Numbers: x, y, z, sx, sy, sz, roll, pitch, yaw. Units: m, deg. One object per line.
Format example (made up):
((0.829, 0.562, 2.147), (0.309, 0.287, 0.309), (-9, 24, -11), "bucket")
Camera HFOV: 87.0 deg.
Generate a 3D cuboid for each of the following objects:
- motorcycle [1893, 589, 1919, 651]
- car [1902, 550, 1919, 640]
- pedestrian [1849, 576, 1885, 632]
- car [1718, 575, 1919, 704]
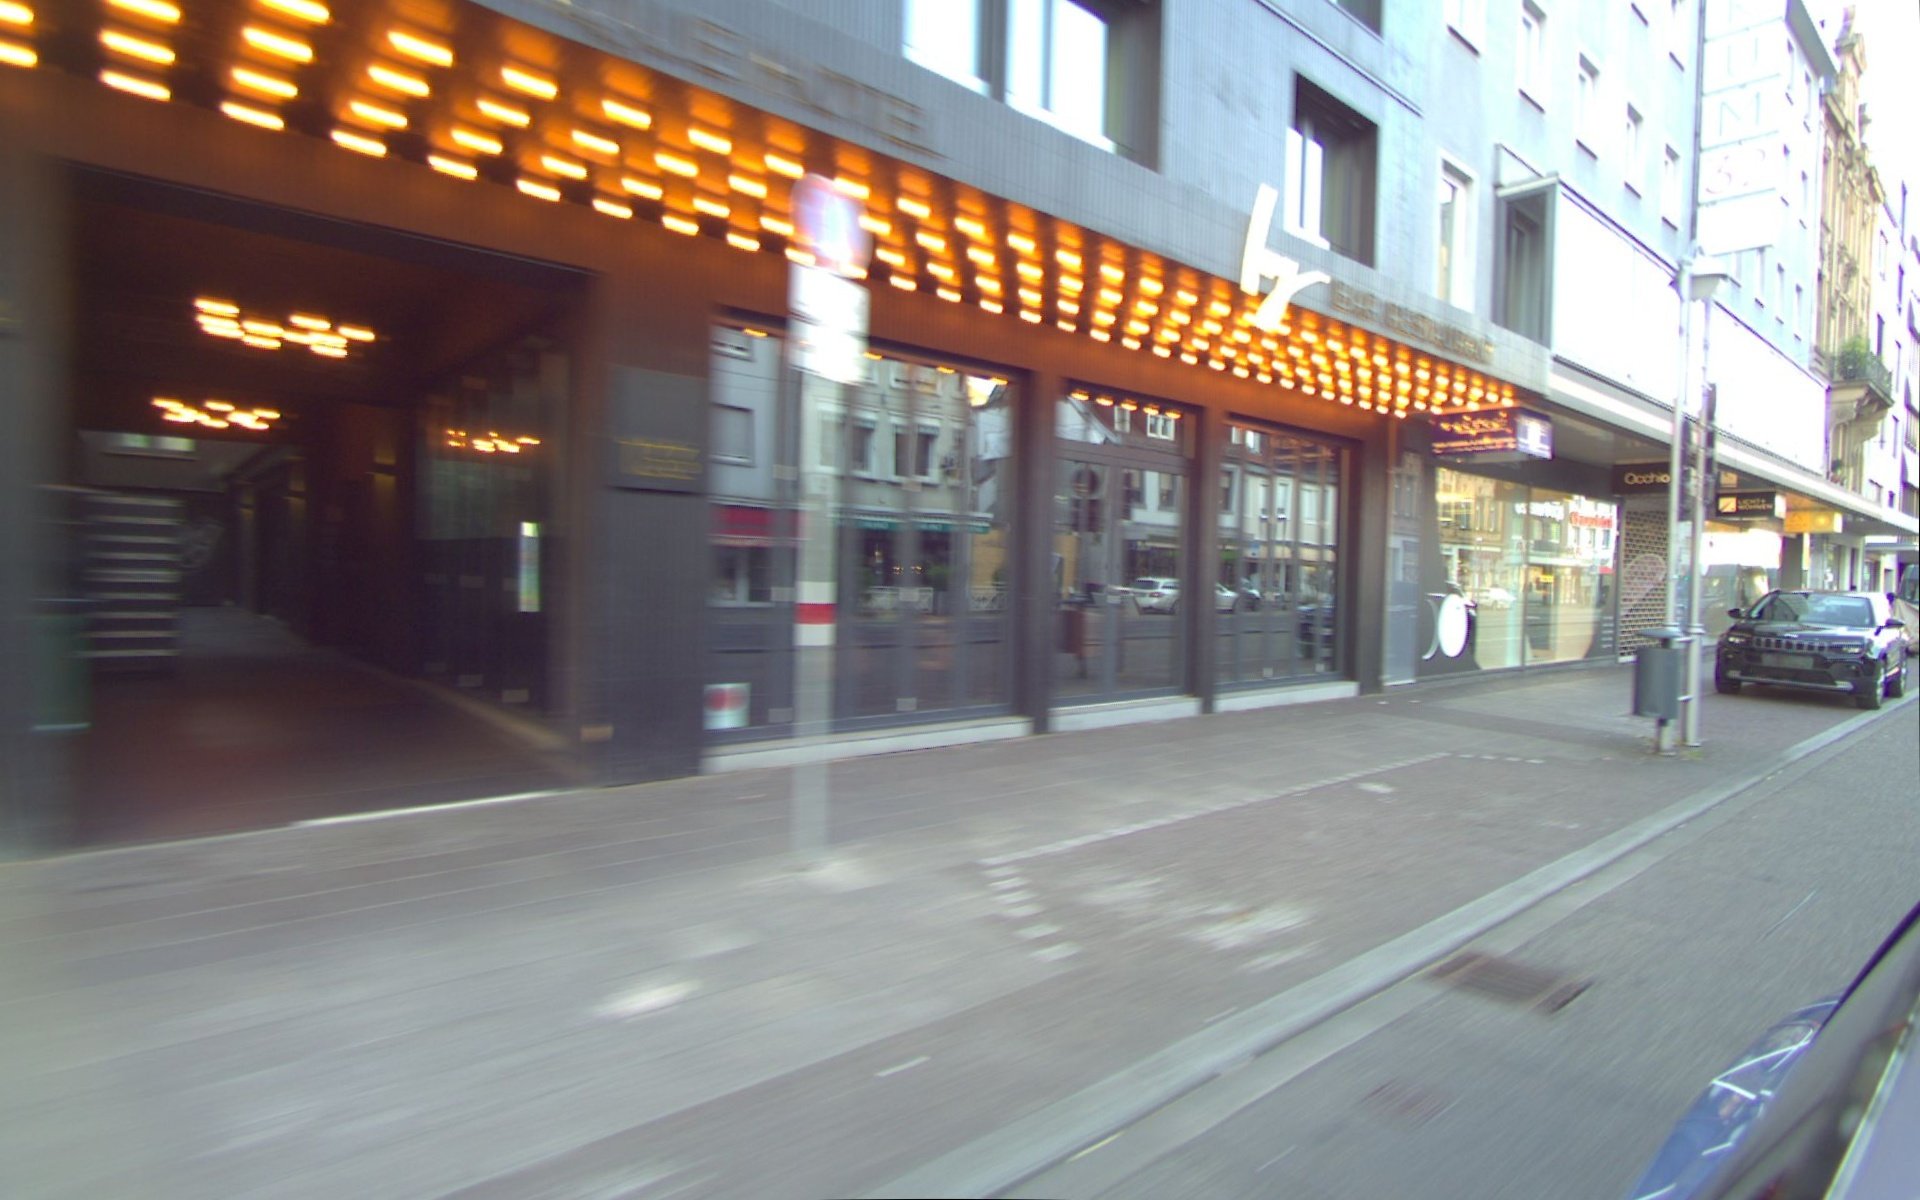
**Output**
((23.469, 0.474, 24.642), (2.591, 1.421, 0.784), (0, 3, -41), "motorcycle")
((29.095, -0.163, 29.414), (5.509, 2.479, 2.077), (-1, 0, -42), "car")
((29.693, 0.125, 33.133), (0.776, 1.777, 0.742), (-1, 4, -44), "pedestrian")
((12.376, 0.449, 14.420), (3.897, 1.560, 1.743), (-1, 2, -41), "car")
